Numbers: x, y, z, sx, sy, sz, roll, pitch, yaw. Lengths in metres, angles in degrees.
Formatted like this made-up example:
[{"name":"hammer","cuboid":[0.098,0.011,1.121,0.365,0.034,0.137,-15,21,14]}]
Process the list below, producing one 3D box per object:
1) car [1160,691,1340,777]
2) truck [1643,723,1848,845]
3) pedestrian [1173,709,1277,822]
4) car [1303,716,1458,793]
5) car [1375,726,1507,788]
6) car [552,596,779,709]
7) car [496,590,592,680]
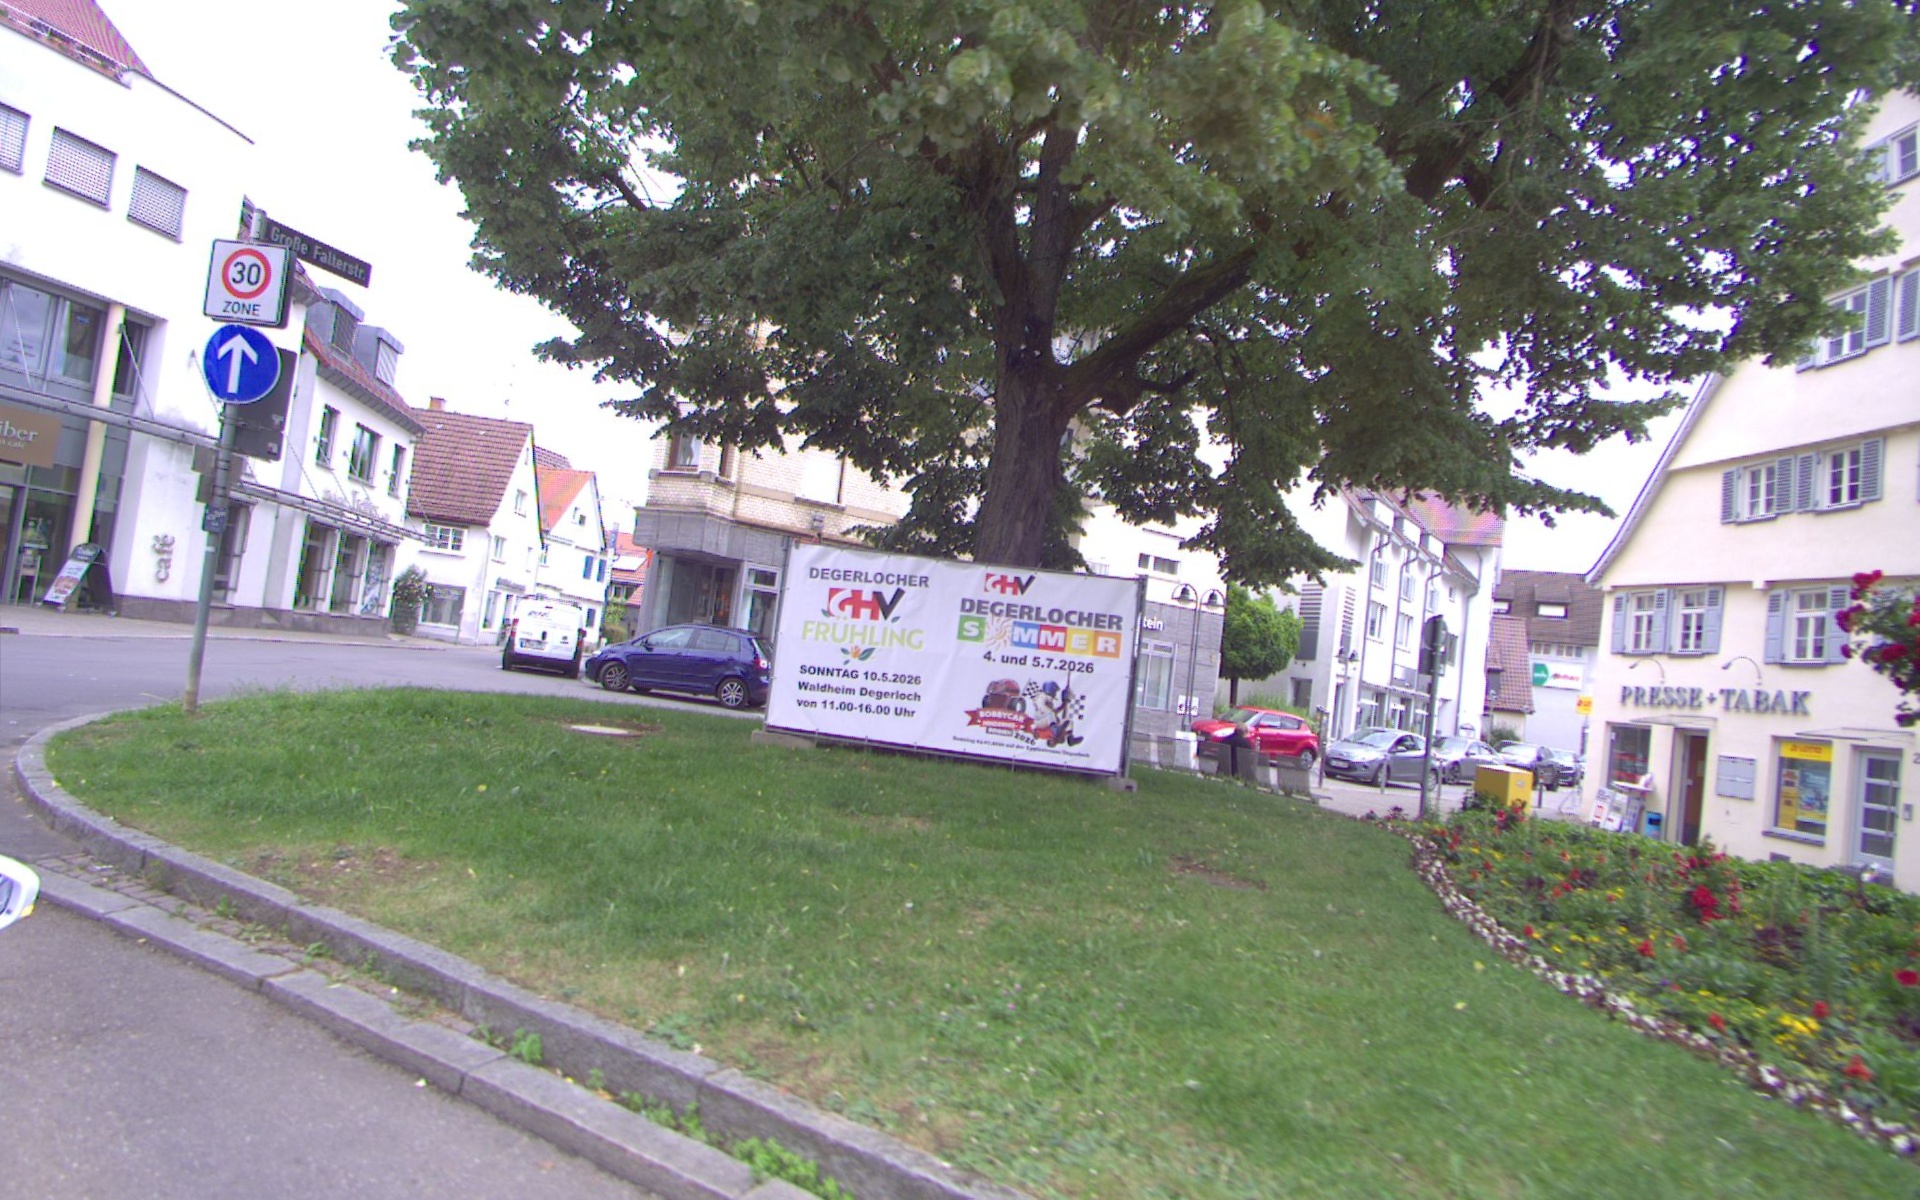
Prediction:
[{"name":"car","cuboid":[7.906,3.642,27.362,4.337,1.563,2.111,11,-4,-27]},{"name":"truck","cuboid":[23.127,5.414,29.605,5.241,2.719,2.823,10,-4,-29]},{"name":"pedestrian","cuboid":[3.745,2.338,14.215,0.852,1.395,0.964,11,-4,-40]},{"name":"car","cuboid":[11.171,4.106,26.647,3.972,1.532,1.768,10,-3,-33]},{"name":"car","cuboid":[15.756,5.150,32.860,4.496,1.527,2.232,10,-4,-41]},{"name":"car","cuboid":[-6.057,1.134,21.007,3.946,1.720,1.868,8,-5,6]},{"name":"car","cuboid":[-10.397,0.861,25.078,1.809,1.811,4.199,10,-5,-23]}]
